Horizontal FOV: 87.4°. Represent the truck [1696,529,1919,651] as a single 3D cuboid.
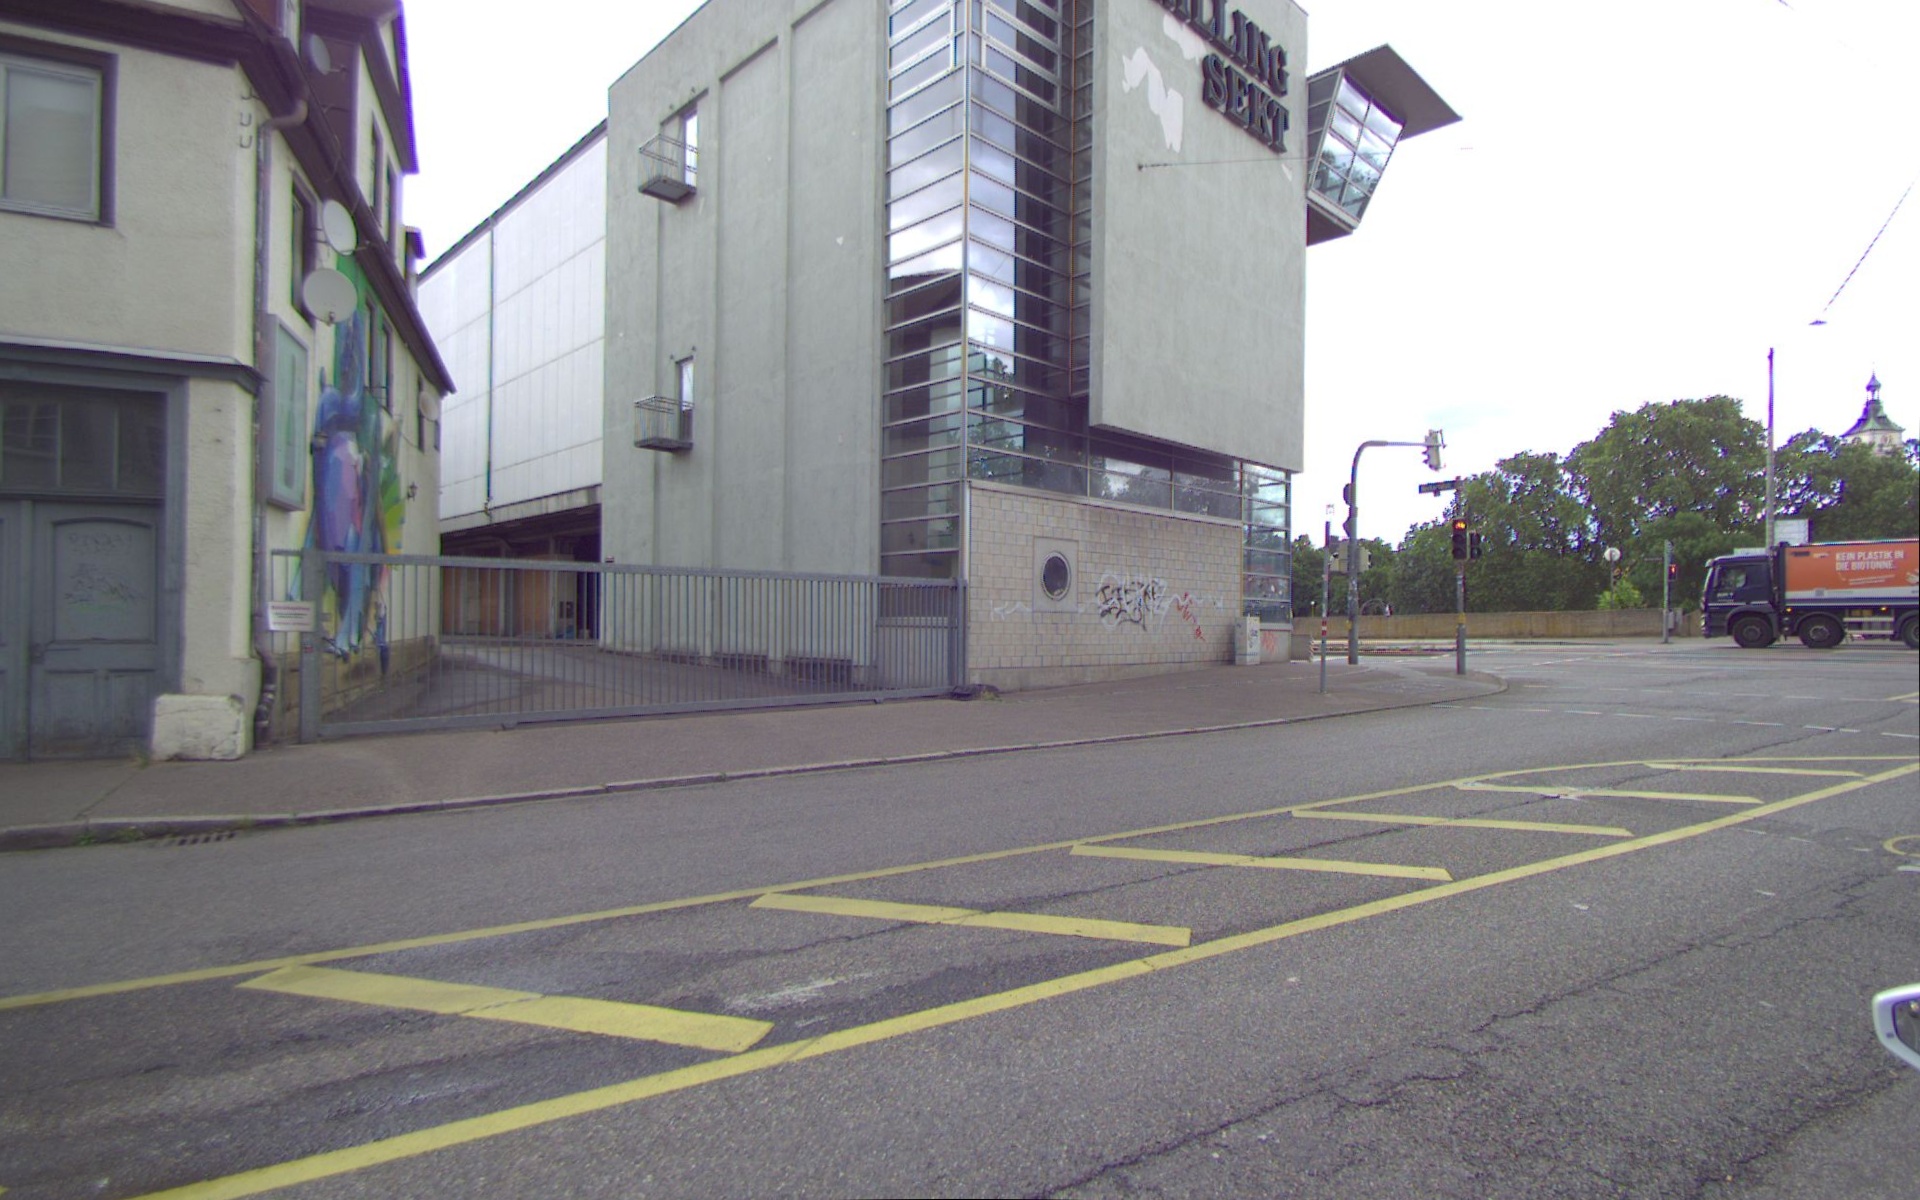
[{"bbox_3d":[29.858,-0.281,32.045,2.255,3.745,10.086,1,-1,-44],"label":"truck"}]
